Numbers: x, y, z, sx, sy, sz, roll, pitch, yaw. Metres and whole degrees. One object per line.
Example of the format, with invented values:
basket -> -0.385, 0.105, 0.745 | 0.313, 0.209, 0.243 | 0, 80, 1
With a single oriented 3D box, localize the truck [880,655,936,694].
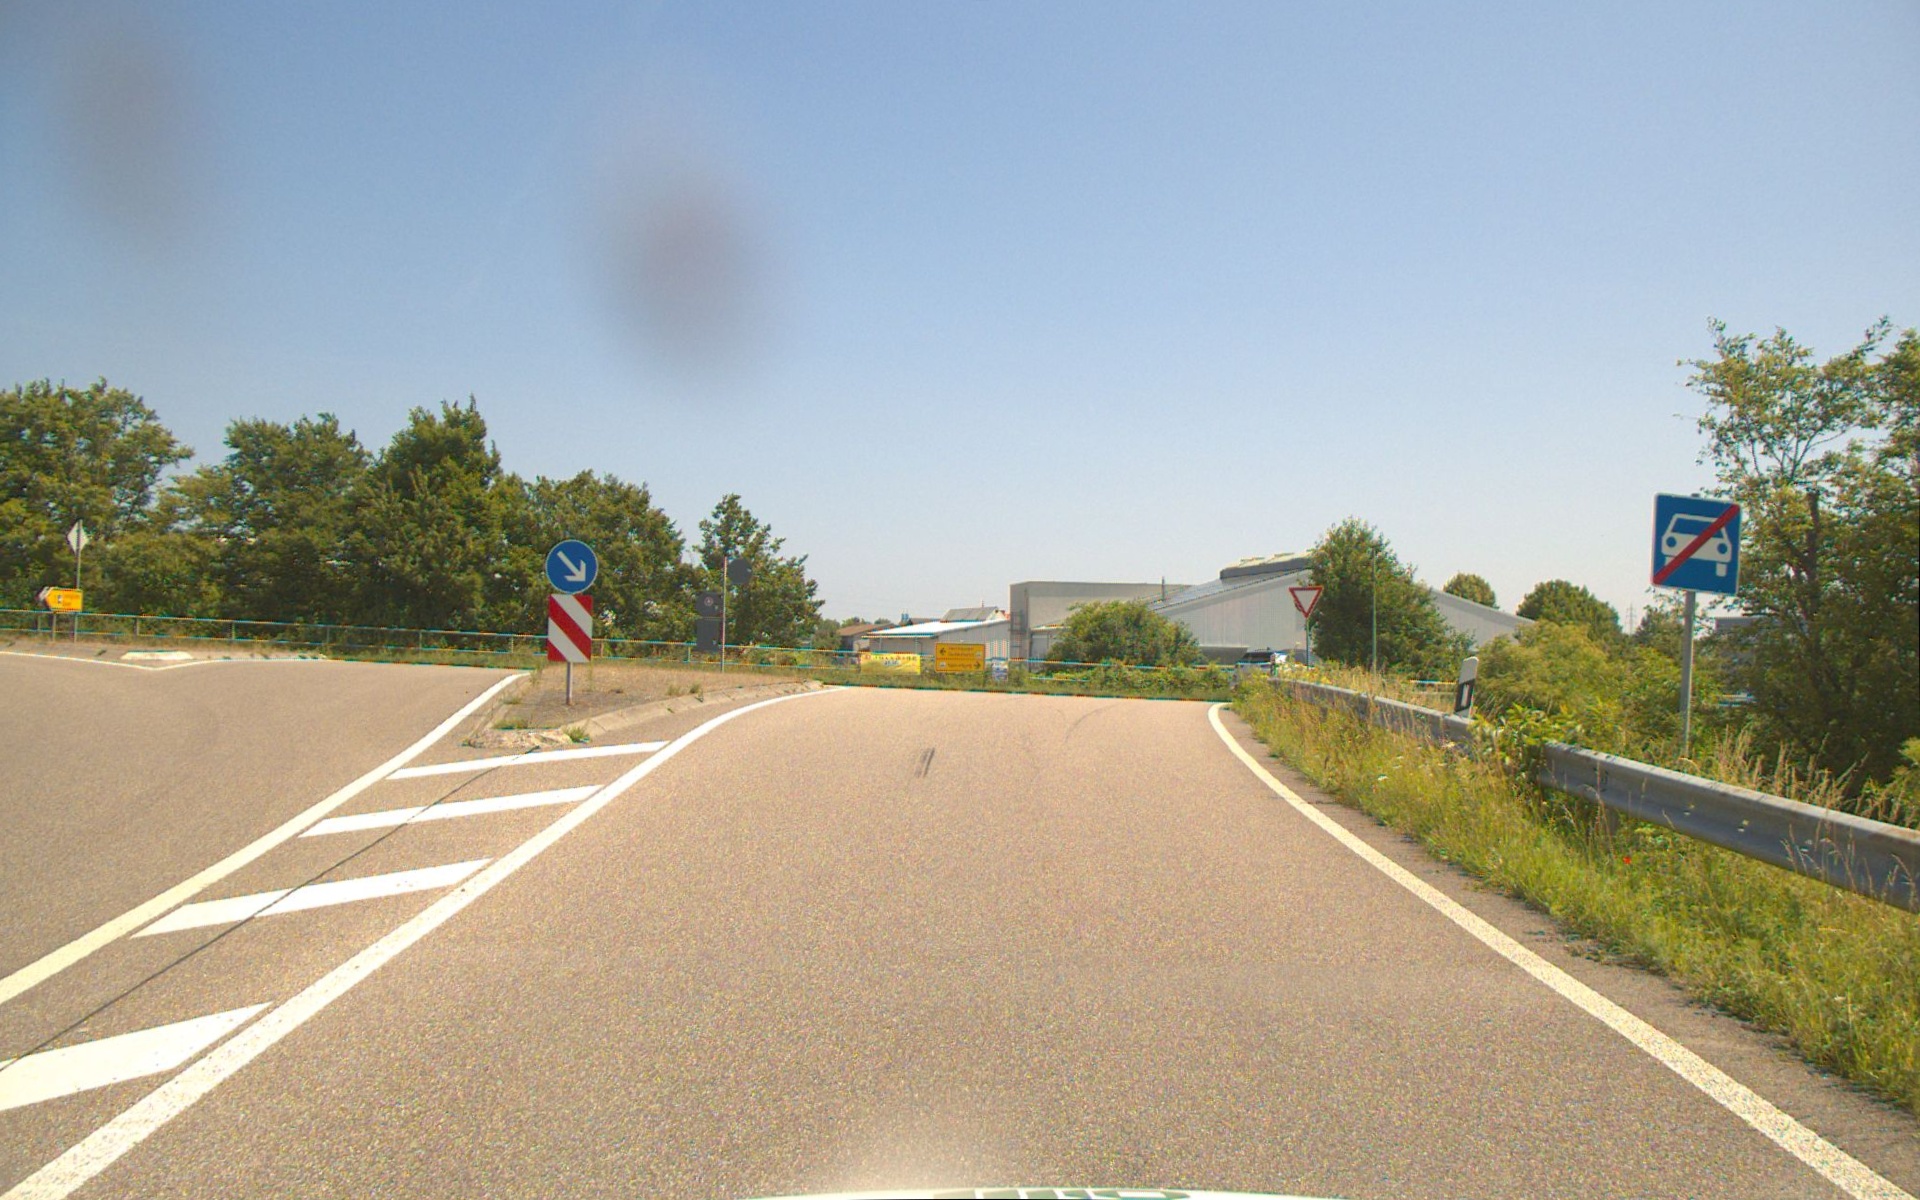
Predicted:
truck -> -6.261, 8.725, 195.063 | 3.646, 4.387, 13.287 | 3, -3, -15

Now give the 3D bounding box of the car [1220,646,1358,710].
car -> 9.301, 2.163, 46.619 | 3.963, 1.721, 1.788 | 2, -3, -41
